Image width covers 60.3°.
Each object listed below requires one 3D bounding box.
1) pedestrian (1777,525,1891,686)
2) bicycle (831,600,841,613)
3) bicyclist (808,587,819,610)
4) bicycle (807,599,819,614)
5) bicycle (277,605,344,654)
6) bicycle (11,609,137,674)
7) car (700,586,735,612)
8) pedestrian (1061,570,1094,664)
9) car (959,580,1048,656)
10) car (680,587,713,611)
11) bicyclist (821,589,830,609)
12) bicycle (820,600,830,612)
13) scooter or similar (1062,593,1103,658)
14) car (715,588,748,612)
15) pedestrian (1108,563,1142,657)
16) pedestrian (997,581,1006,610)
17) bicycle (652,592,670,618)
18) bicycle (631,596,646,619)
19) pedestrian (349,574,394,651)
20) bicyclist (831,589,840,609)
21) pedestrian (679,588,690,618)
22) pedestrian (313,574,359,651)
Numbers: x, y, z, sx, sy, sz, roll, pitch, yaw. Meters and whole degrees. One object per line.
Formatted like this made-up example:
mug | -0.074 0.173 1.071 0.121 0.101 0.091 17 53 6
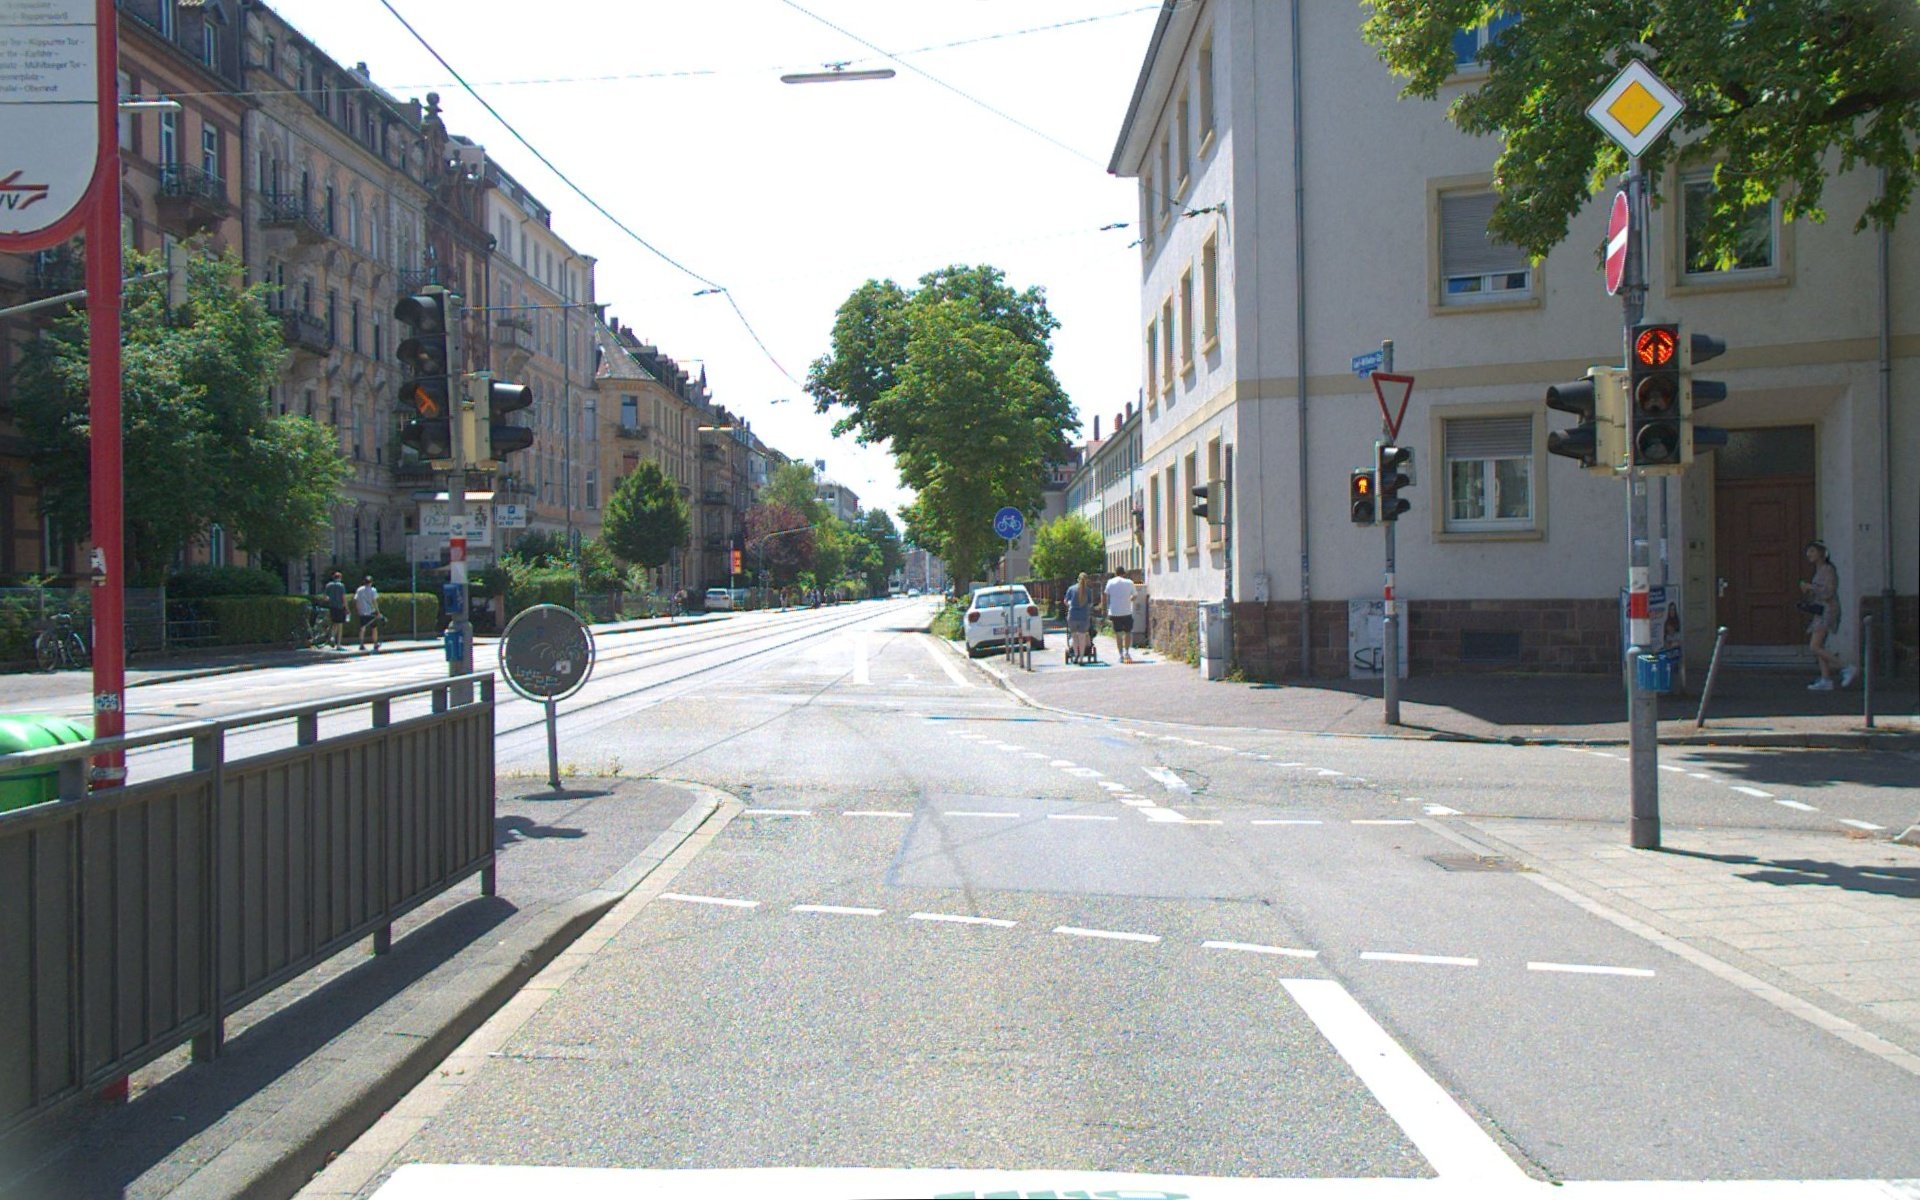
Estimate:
pedestrian | 10.001 0.067 18.959 1.033 1.719 0.653 -4 3 27
bicycle | -11.530 0.599 153.472 0.712 1.142 2.085 1 0 1
bicyclist | -11.643 -0.151 131.175 0.712 1.799 1.079 1 0 1
bicycle | -11.670 0.515 131.029 0.712 1.142 2.085 1 0 1
bicycle | -15.879 0.701 40.504 0.920 1.156 2.767 1 0 -9
bicycle | -16.712 0.760 31.293 0.918 1.156 2.773 1 0 -2
car | -16.879 -0.054 115.301 1.880 1.745 3.999 1 0 -1
pedestrian | 2.111 0.303 29.704 0.545 1.674 0.677 1 -1 2
car | 0.928 0.398 37.317 1.778 1.542 3.999 -3 0 -1
car | -19.679 -0.067 123.595 1.880 1.745 3.999 1 0 -1
bicyclist | -12.522 -0.102 153.627 0.712 1.850 1.079 1 0 1
bicycle | -12.521 0.573 153.617 0.712 1.142 2.085 1 0 1
scooter or similar | 2.279 0.472 30.612 0.545 1.175 1.206 1 0 14
car | -17.048 -0.022 123.562 1.880 1.745 3.999 1 0 -1
pedestrian | 2.988 0.186 30.003 0.545 1.674 0.677 1 -1 2
pedestrian | 2.364 -0.261 94.150 0.511 1.590 0.573 -1 0 -1
bicycle | -15.278 0.250 84.423 0.664 1.301 1.917 -1 0 -4
bicycle | -15.501 0.336 79.776 0.665 1.083 1.913 -1 0 -12
pedestrian | -14.528 0.306 40.855 0.800 1.854 0.873 1 1 -3
bicyclist | -11.519 -0.090 153.534 0.712 1.850 1.079 1 0 1
pedestrian | -15.517 0.173 93.268 0.510 1.688 0.529 -1 0 -1
pedestrian | -15.350 0.299 40.697 0.800 1.854 0.873 1 1 -3
